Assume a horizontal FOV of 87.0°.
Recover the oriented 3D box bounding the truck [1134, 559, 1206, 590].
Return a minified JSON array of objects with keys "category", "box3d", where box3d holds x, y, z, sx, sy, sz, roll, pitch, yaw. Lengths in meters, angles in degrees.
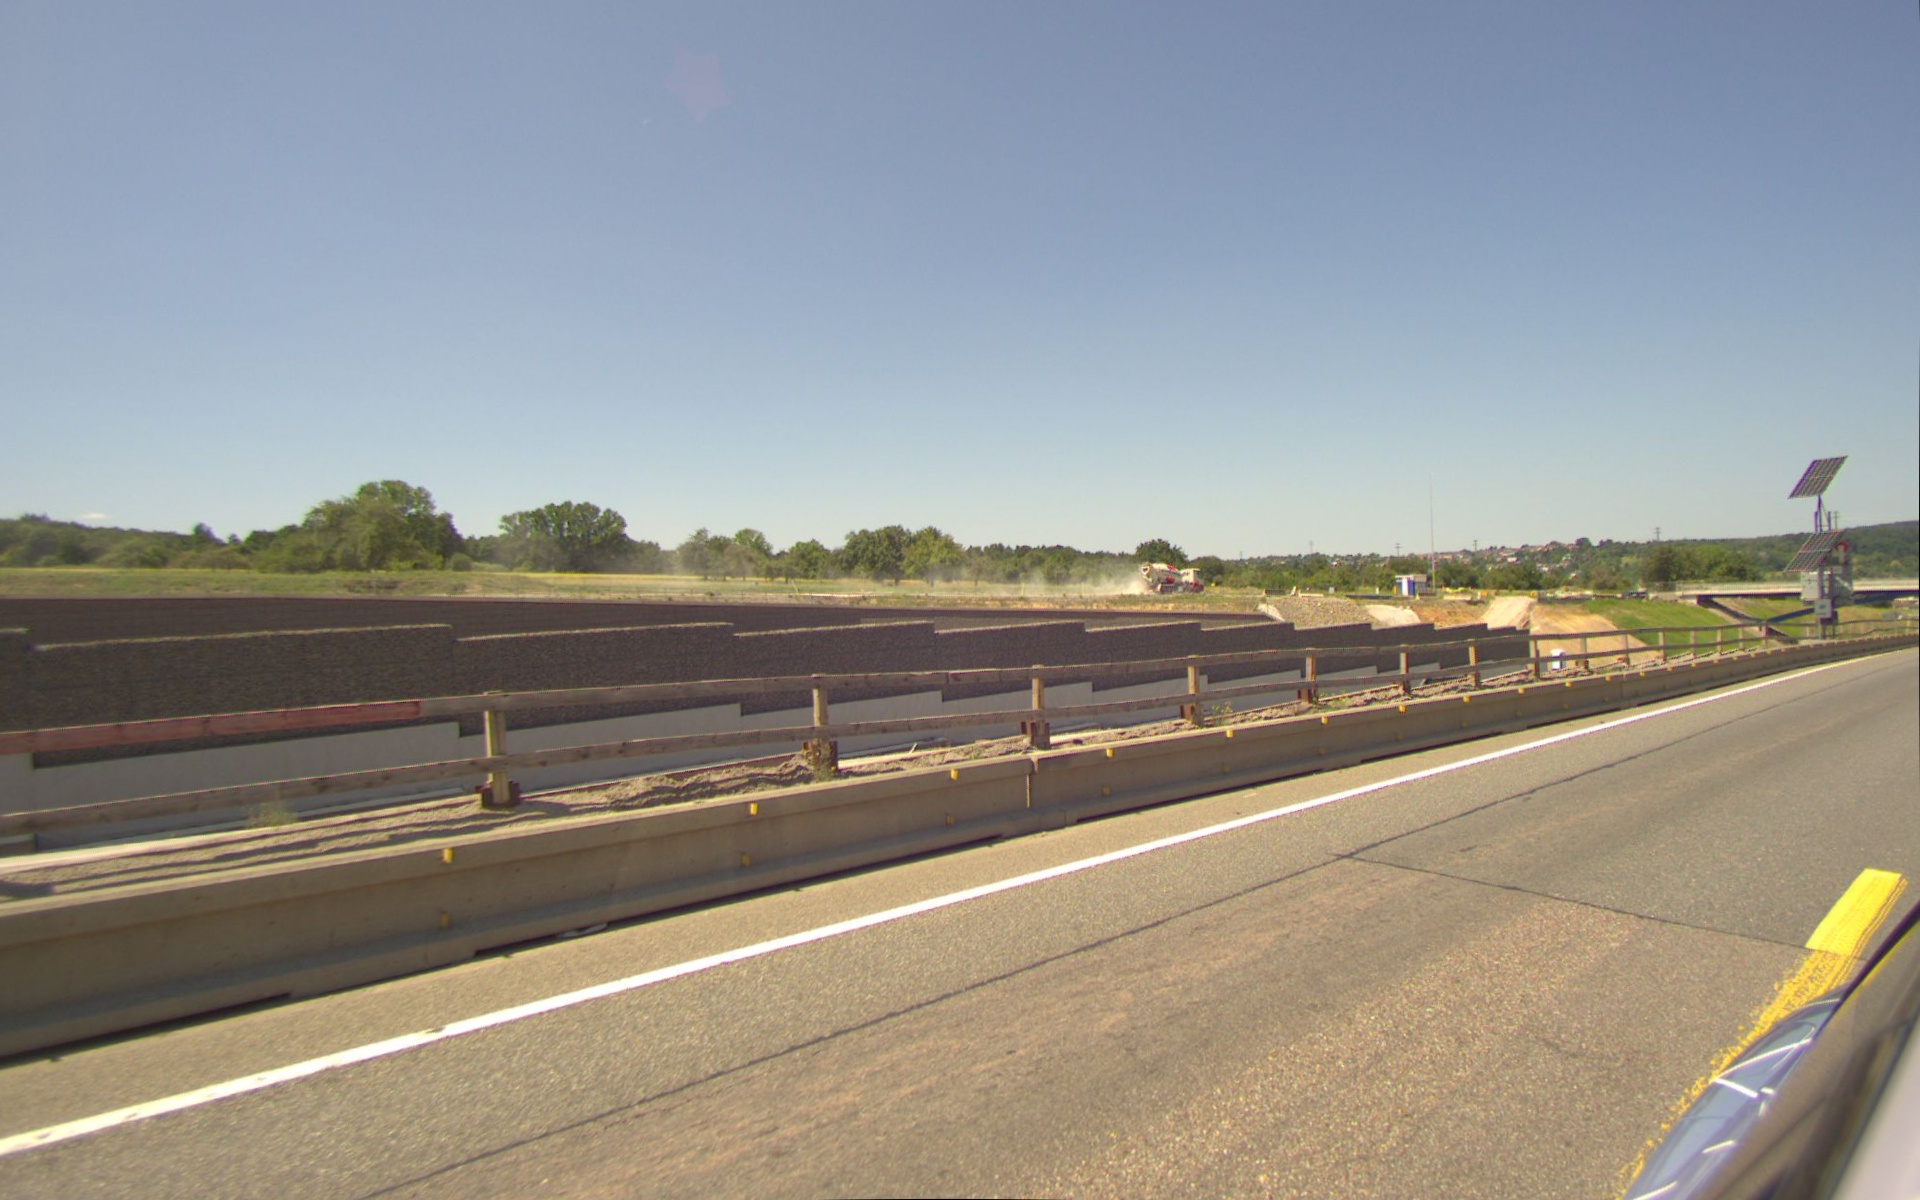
[{"category":"truck","box3d":[24.932,-2.963,119.995,8.585,3.510,3.159,0,-1,-33]}]
